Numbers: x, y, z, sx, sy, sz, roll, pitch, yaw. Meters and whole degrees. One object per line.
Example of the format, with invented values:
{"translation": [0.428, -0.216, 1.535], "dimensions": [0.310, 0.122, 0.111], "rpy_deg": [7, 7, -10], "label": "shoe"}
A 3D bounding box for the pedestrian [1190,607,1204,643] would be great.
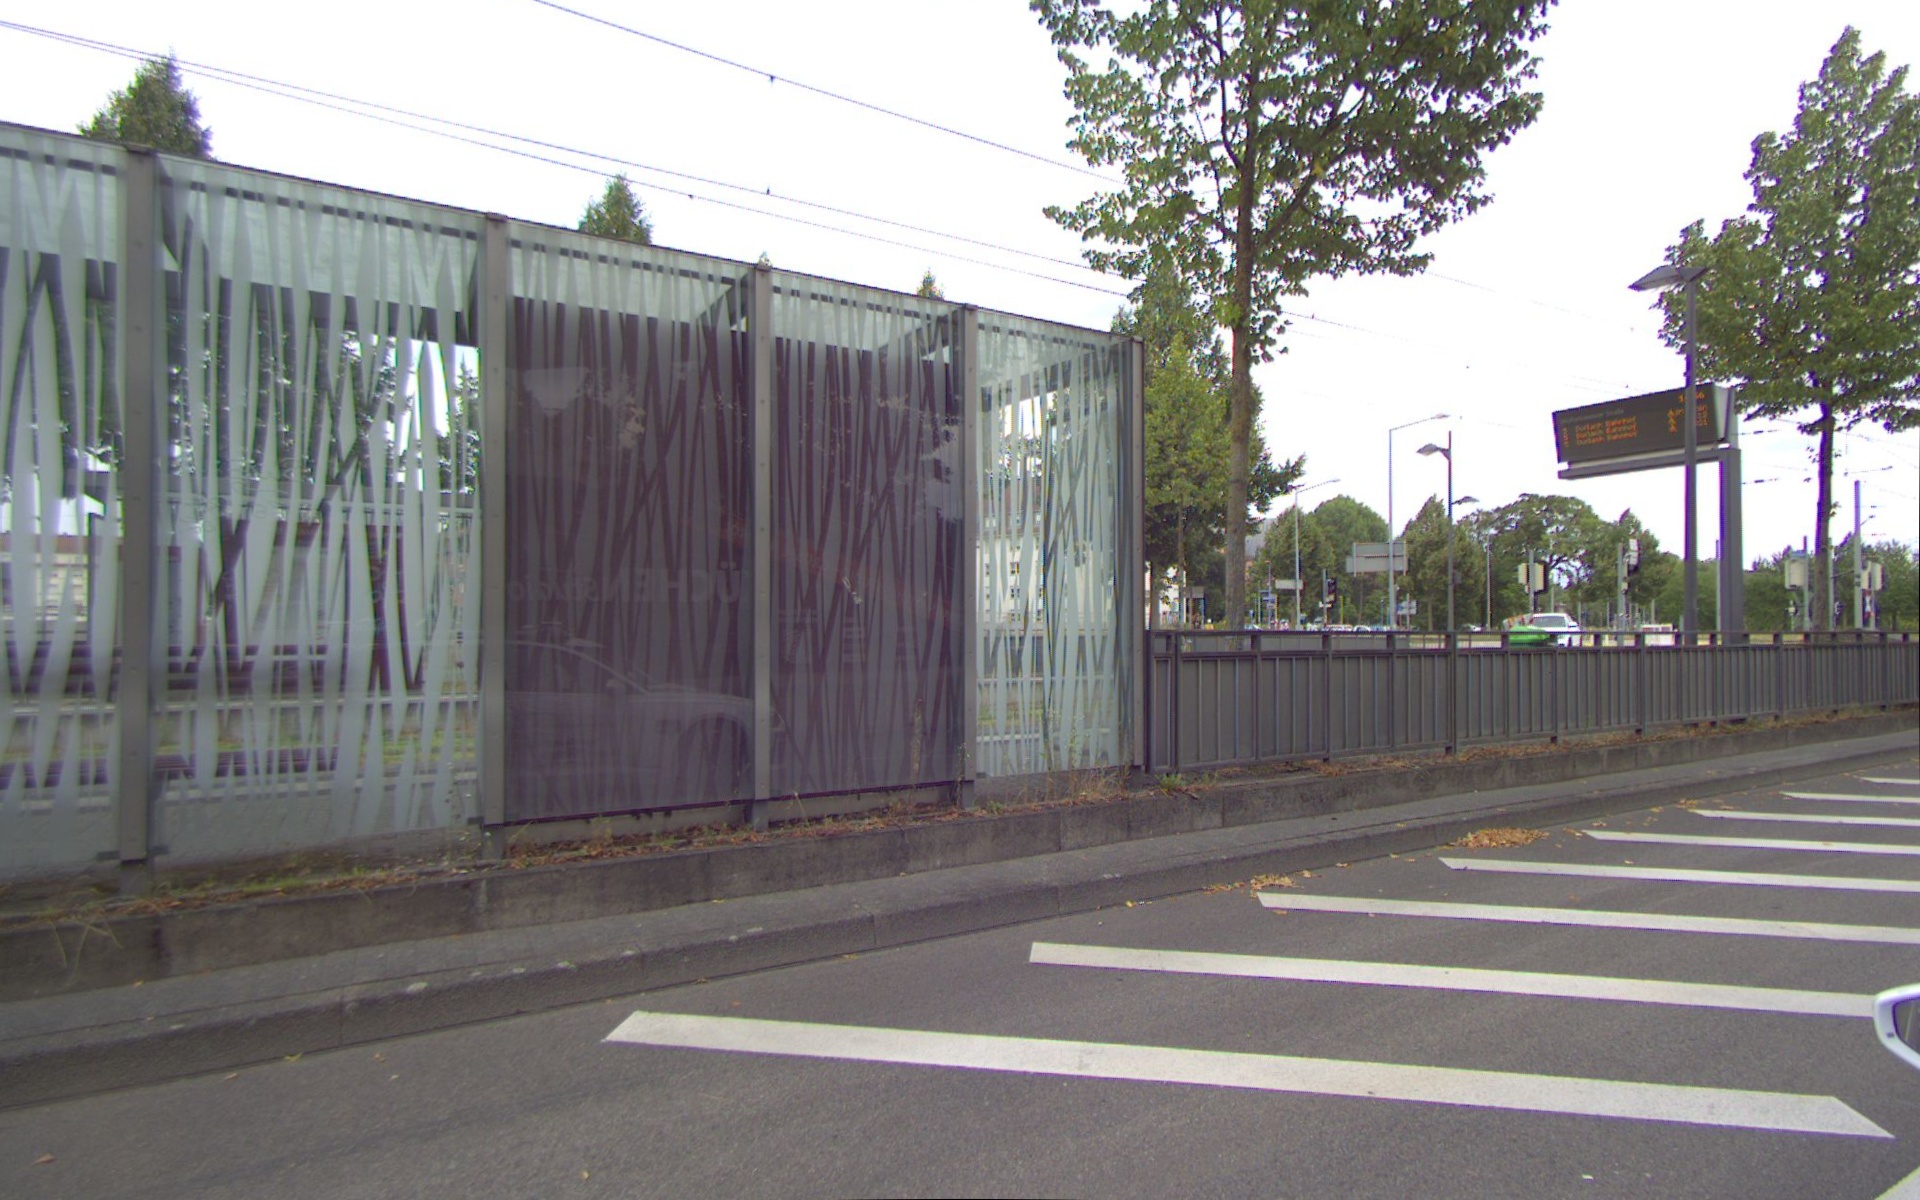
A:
{"translation": [12.647, 1.330, 53.543], "dimensions": [0.636, 1.874, 0.491], "rpy_deg": [0, -1, 22], "label": "pedestrian"}

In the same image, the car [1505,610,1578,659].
{"translation": [21.194, 1.221, 36.539], "dimensions": [1.967, 1.639, 4.371], "rpy_deg": [-1, -1, 35], "label": "car"}

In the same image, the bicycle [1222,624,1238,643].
{"translation": [17.343, 2.140, 64.530], "dimensions": [0.793, 1.144, 2.708], "rpy_deg": [-1, -1, 19], "label": "bicycle"}

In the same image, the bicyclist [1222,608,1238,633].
{"translation": [17.326, 1.305, 64.408], "dimensions": [0.874, 1.583, 0.750], "rpy_deg": [0, -1, 23], "label": "bicyclist"}
